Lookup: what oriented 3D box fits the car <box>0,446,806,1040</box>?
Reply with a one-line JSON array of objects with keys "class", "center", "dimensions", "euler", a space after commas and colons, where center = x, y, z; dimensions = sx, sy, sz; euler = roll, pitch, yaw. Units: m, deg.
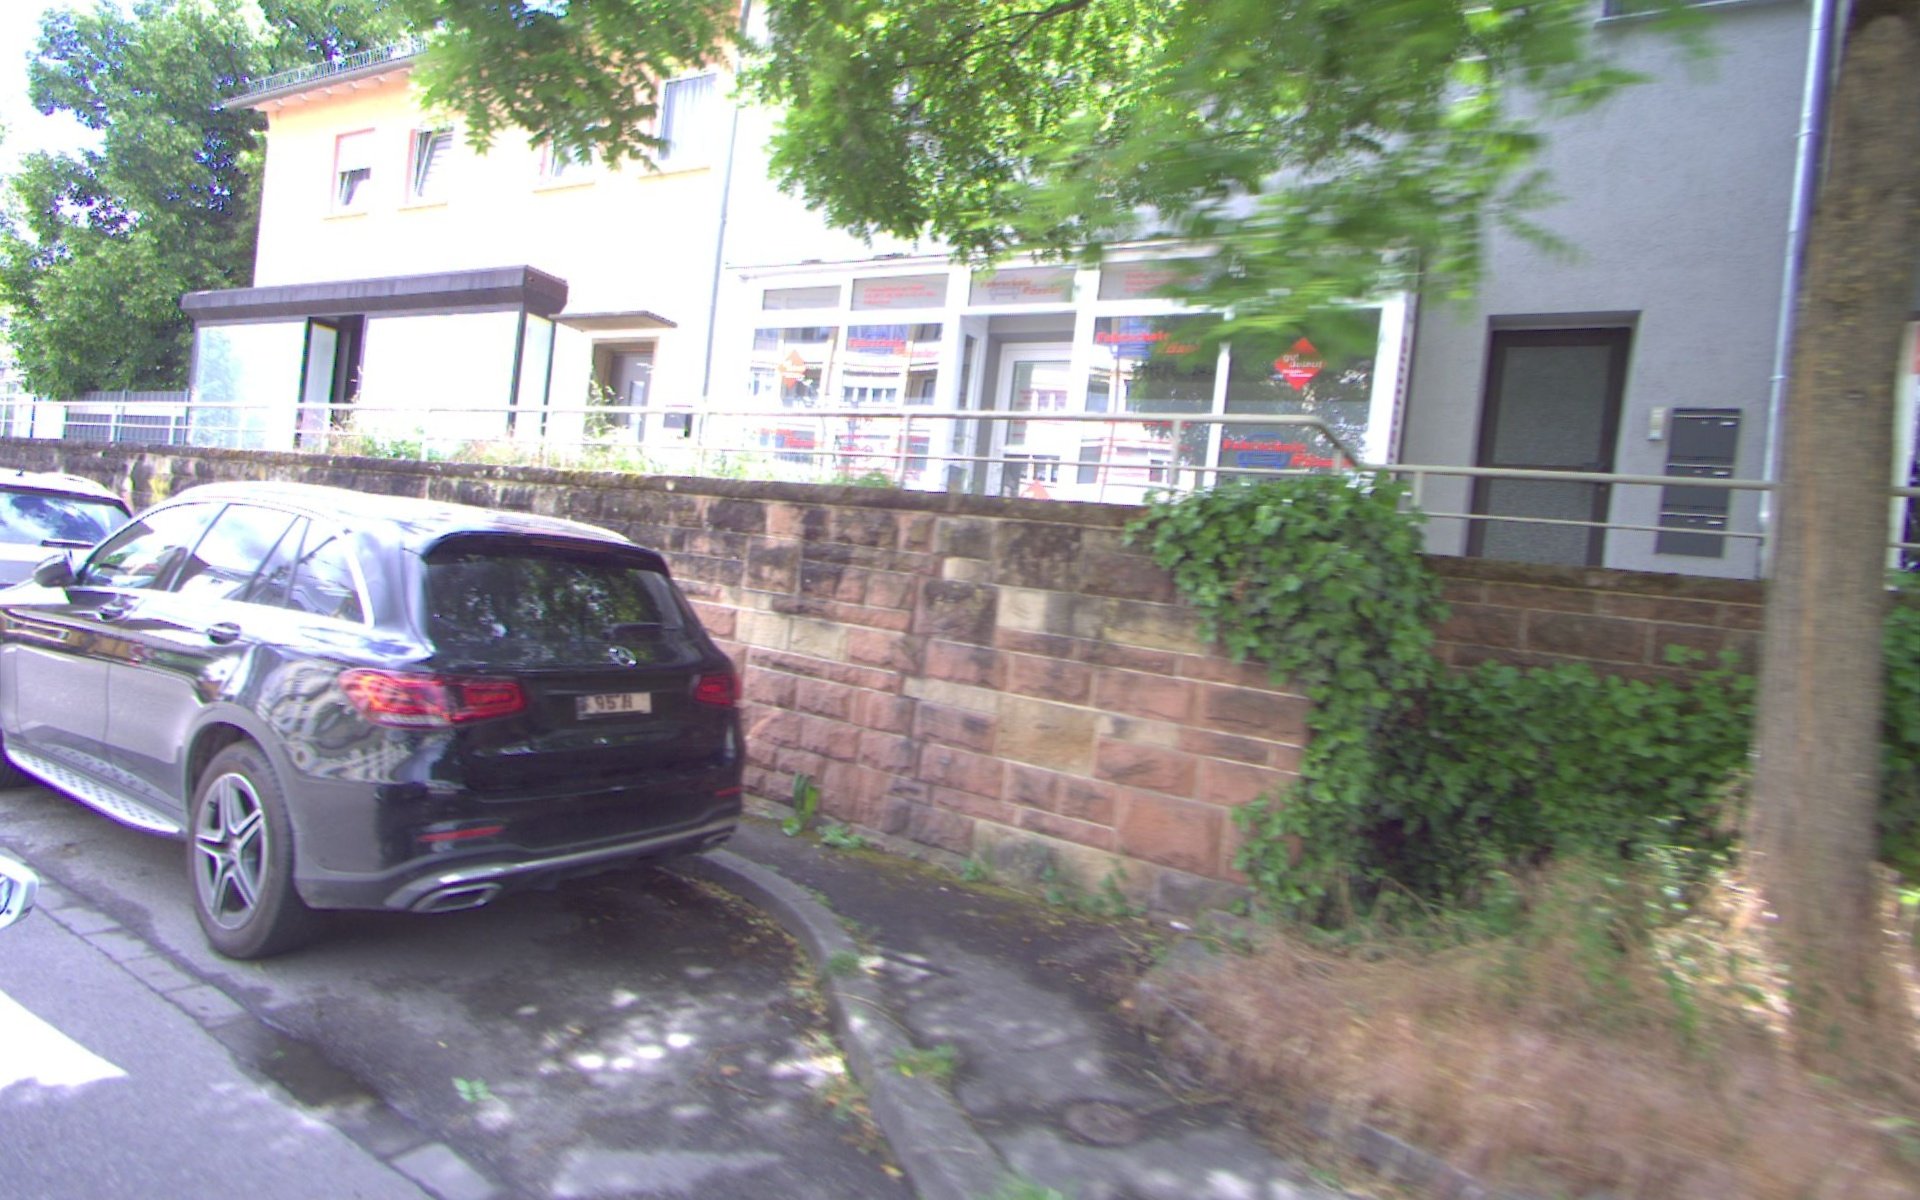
[{"class": "car", "center": [-3.065, 0.270, 4.801], "dimensions": [4.373, 1.639, 1.791], "euler": [7, 2, 31]}]

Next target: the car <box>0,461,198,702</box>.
[{"class": "car", "center": [-8.192, -0.330, 8.103], "dimensions": [4.177, 1.638, 1.791], "euler": [7, 1, 31]}]
